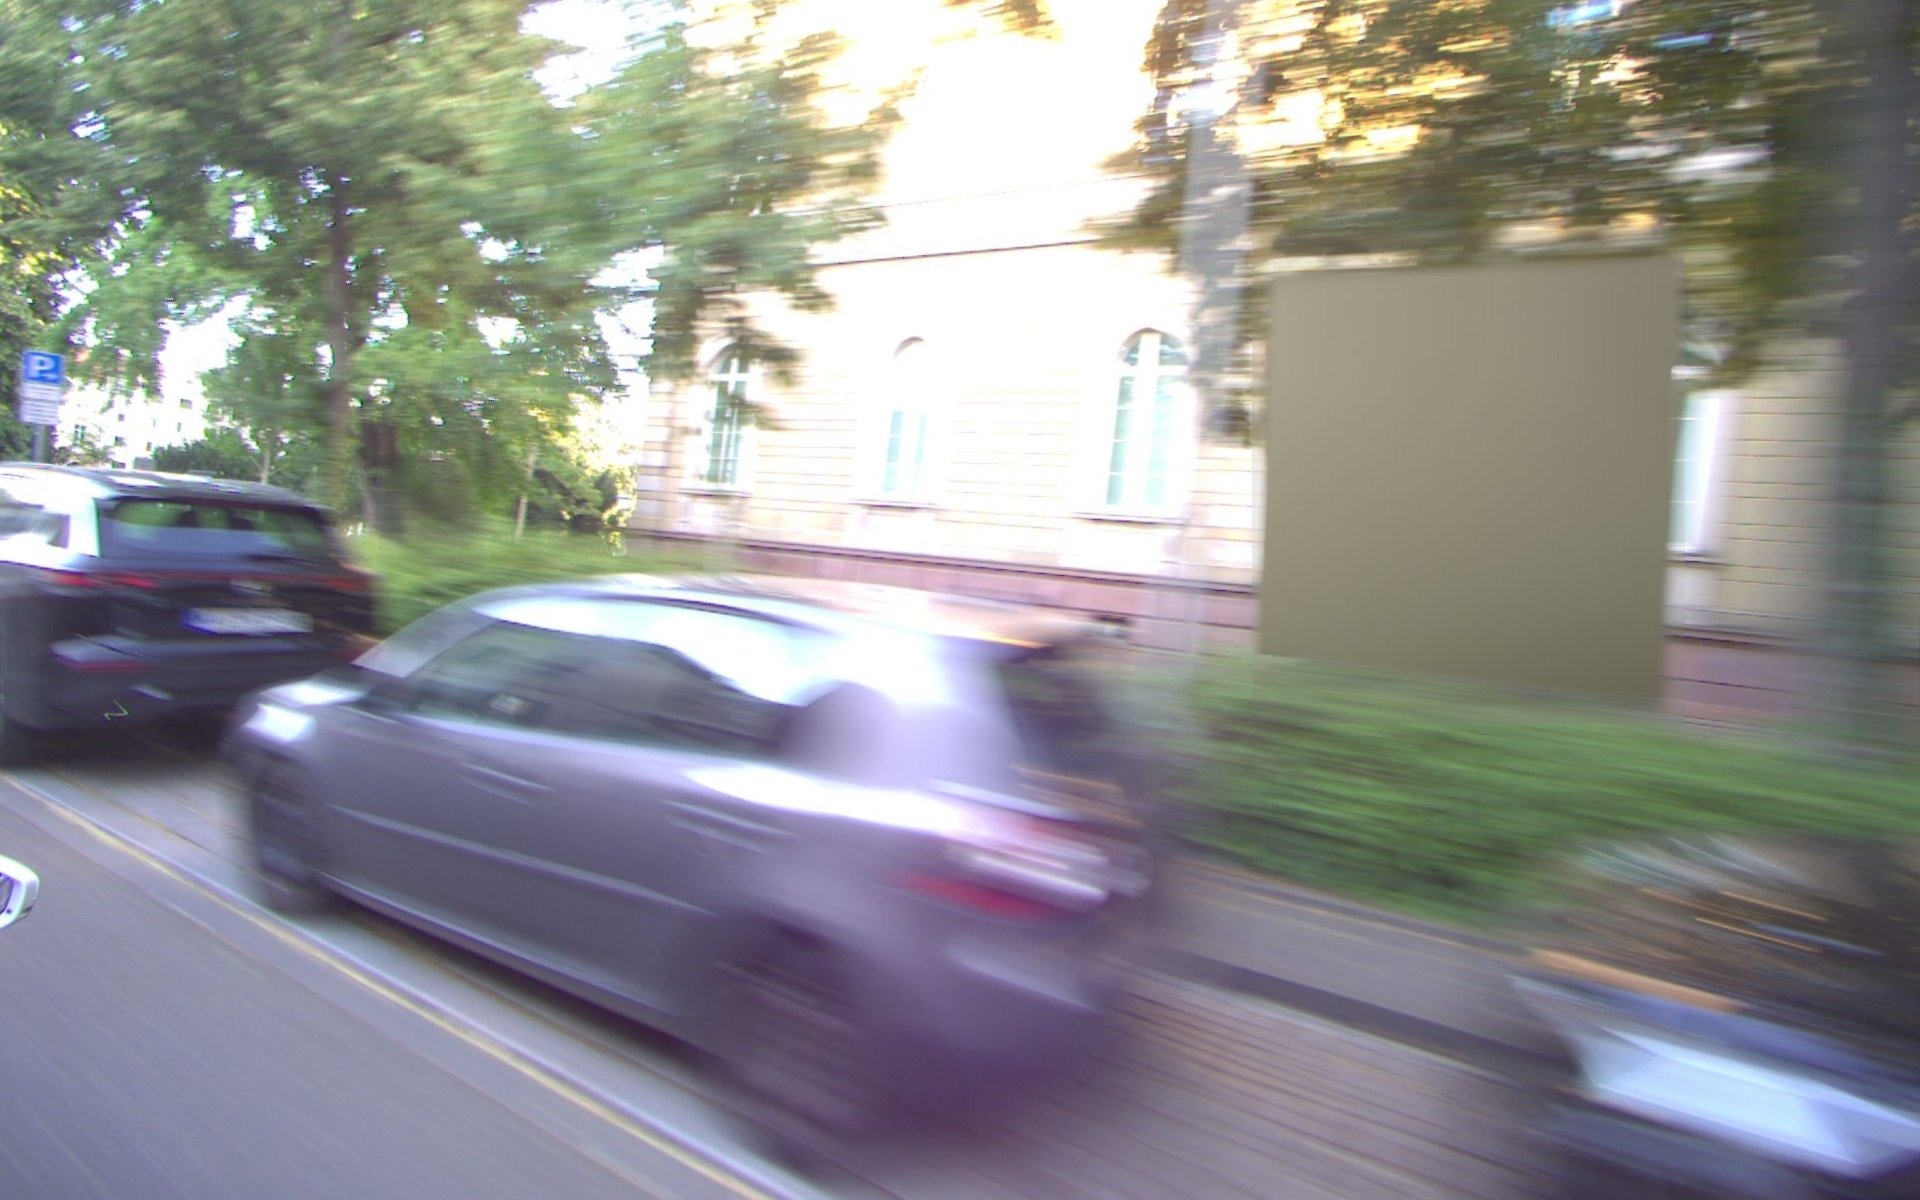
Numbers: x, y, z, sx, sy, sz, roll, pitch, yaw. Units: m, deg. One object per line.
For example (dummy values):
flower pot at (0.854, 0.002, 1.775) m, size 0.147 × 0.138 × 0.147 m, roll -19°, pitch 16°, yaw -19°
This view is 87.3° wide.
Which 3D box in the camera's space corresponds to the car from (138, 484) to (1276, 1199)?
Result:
car at (-1.155, 0.523, 3.859) m, size 4.119 × 1.558 × 1.726 m, roll 6°, pitch 0°, yaw 31°

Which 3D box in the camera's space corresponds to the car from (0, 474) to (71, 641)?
car at (-10.814, -0.601, 9.906) m, size 4.532 × 1.509 × 1.724 m, roll 6°, pitch 4°, yaw 30°

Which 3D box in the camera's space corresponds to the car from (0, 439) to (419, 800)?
car at (-5.719, -0.048, 6.662) m, size 4.638 × 1.672 × 1.724 m, roll 6°, pitch 0°, yaw 34°

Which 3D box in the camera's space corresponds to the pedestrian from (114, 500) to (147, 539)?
pedestrian at (-27.813, -2.684, 33.748) m, size 0.657 × 1.207 × 0.789 m, roll 5°, pitch 1°, yaw -31°

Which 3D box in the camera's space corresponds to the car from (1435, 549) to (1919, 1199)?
car at (3.159, 0.974, 1.394) m, size 4.344 × 1.675 × 1.806 m, roll 7°, pitch 5°, yaw 31°

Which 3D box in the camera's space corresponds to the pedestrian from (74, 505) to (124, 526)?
pedestrian at (-28.631, -2.822, 33.469) m, size 1.351 × 0.557 × 0.541 m, roll 6°, pitch 4°, yaw 12°
